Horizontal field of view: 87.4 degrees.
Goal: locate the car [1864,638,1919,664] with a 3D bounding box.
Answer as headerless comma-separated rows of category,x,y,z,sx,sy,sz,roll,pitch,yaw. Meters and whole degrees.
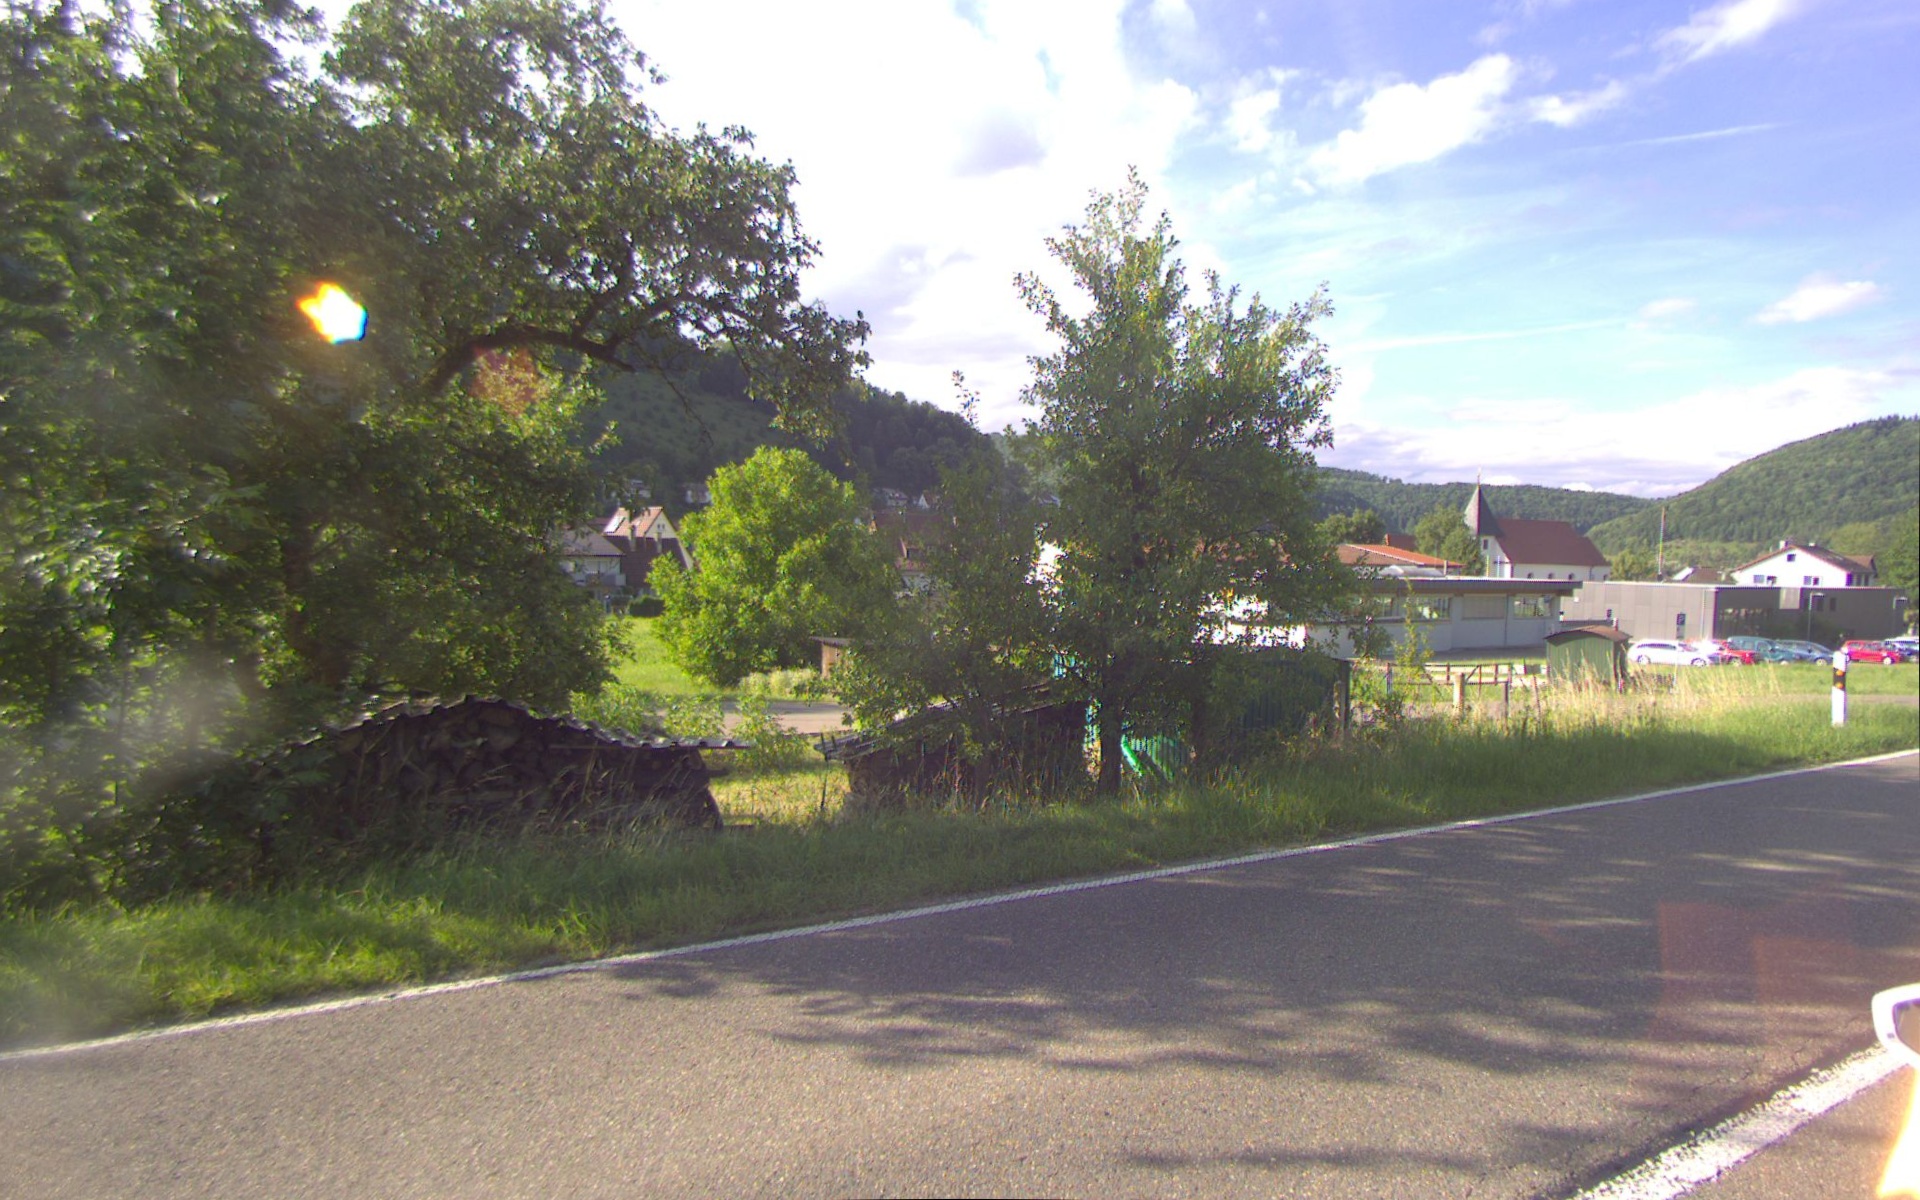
car,67.096,3.629,71.270,1.979,1.733,3.963,2,0,-33

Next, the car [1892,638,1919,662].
car,72.728,3.824,75.226,1.979,1.733,3.963,2,0,-33

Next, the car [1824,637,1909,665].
car,62.808,3.490,69.651,1.979,1.733,3.963,2,0,-33

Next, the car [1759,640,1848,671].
car,53.773,3.494,64.078,1.979,1.733,3.963,2,0,-33

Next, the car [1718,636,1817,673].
car,50.050,3.371,62.351,1.979,2.034,4.380,2,0,-33

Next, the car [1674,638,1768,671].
car,45.114,3.206,59.614,1.979,1.733,3.963,2,0,-33

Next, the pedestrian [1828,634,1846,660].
pedestrian,71.232,3.790,81.609,0.962,2.040,0.821,2,0,-31

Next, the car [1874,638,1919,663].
car,69.923,3.729,73.595,1.979,1.733,3.963,2,0,-33

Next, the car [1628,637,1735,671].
car,42.140,3.111,58.793,1.979,1.733,4.703,2,0,-33
